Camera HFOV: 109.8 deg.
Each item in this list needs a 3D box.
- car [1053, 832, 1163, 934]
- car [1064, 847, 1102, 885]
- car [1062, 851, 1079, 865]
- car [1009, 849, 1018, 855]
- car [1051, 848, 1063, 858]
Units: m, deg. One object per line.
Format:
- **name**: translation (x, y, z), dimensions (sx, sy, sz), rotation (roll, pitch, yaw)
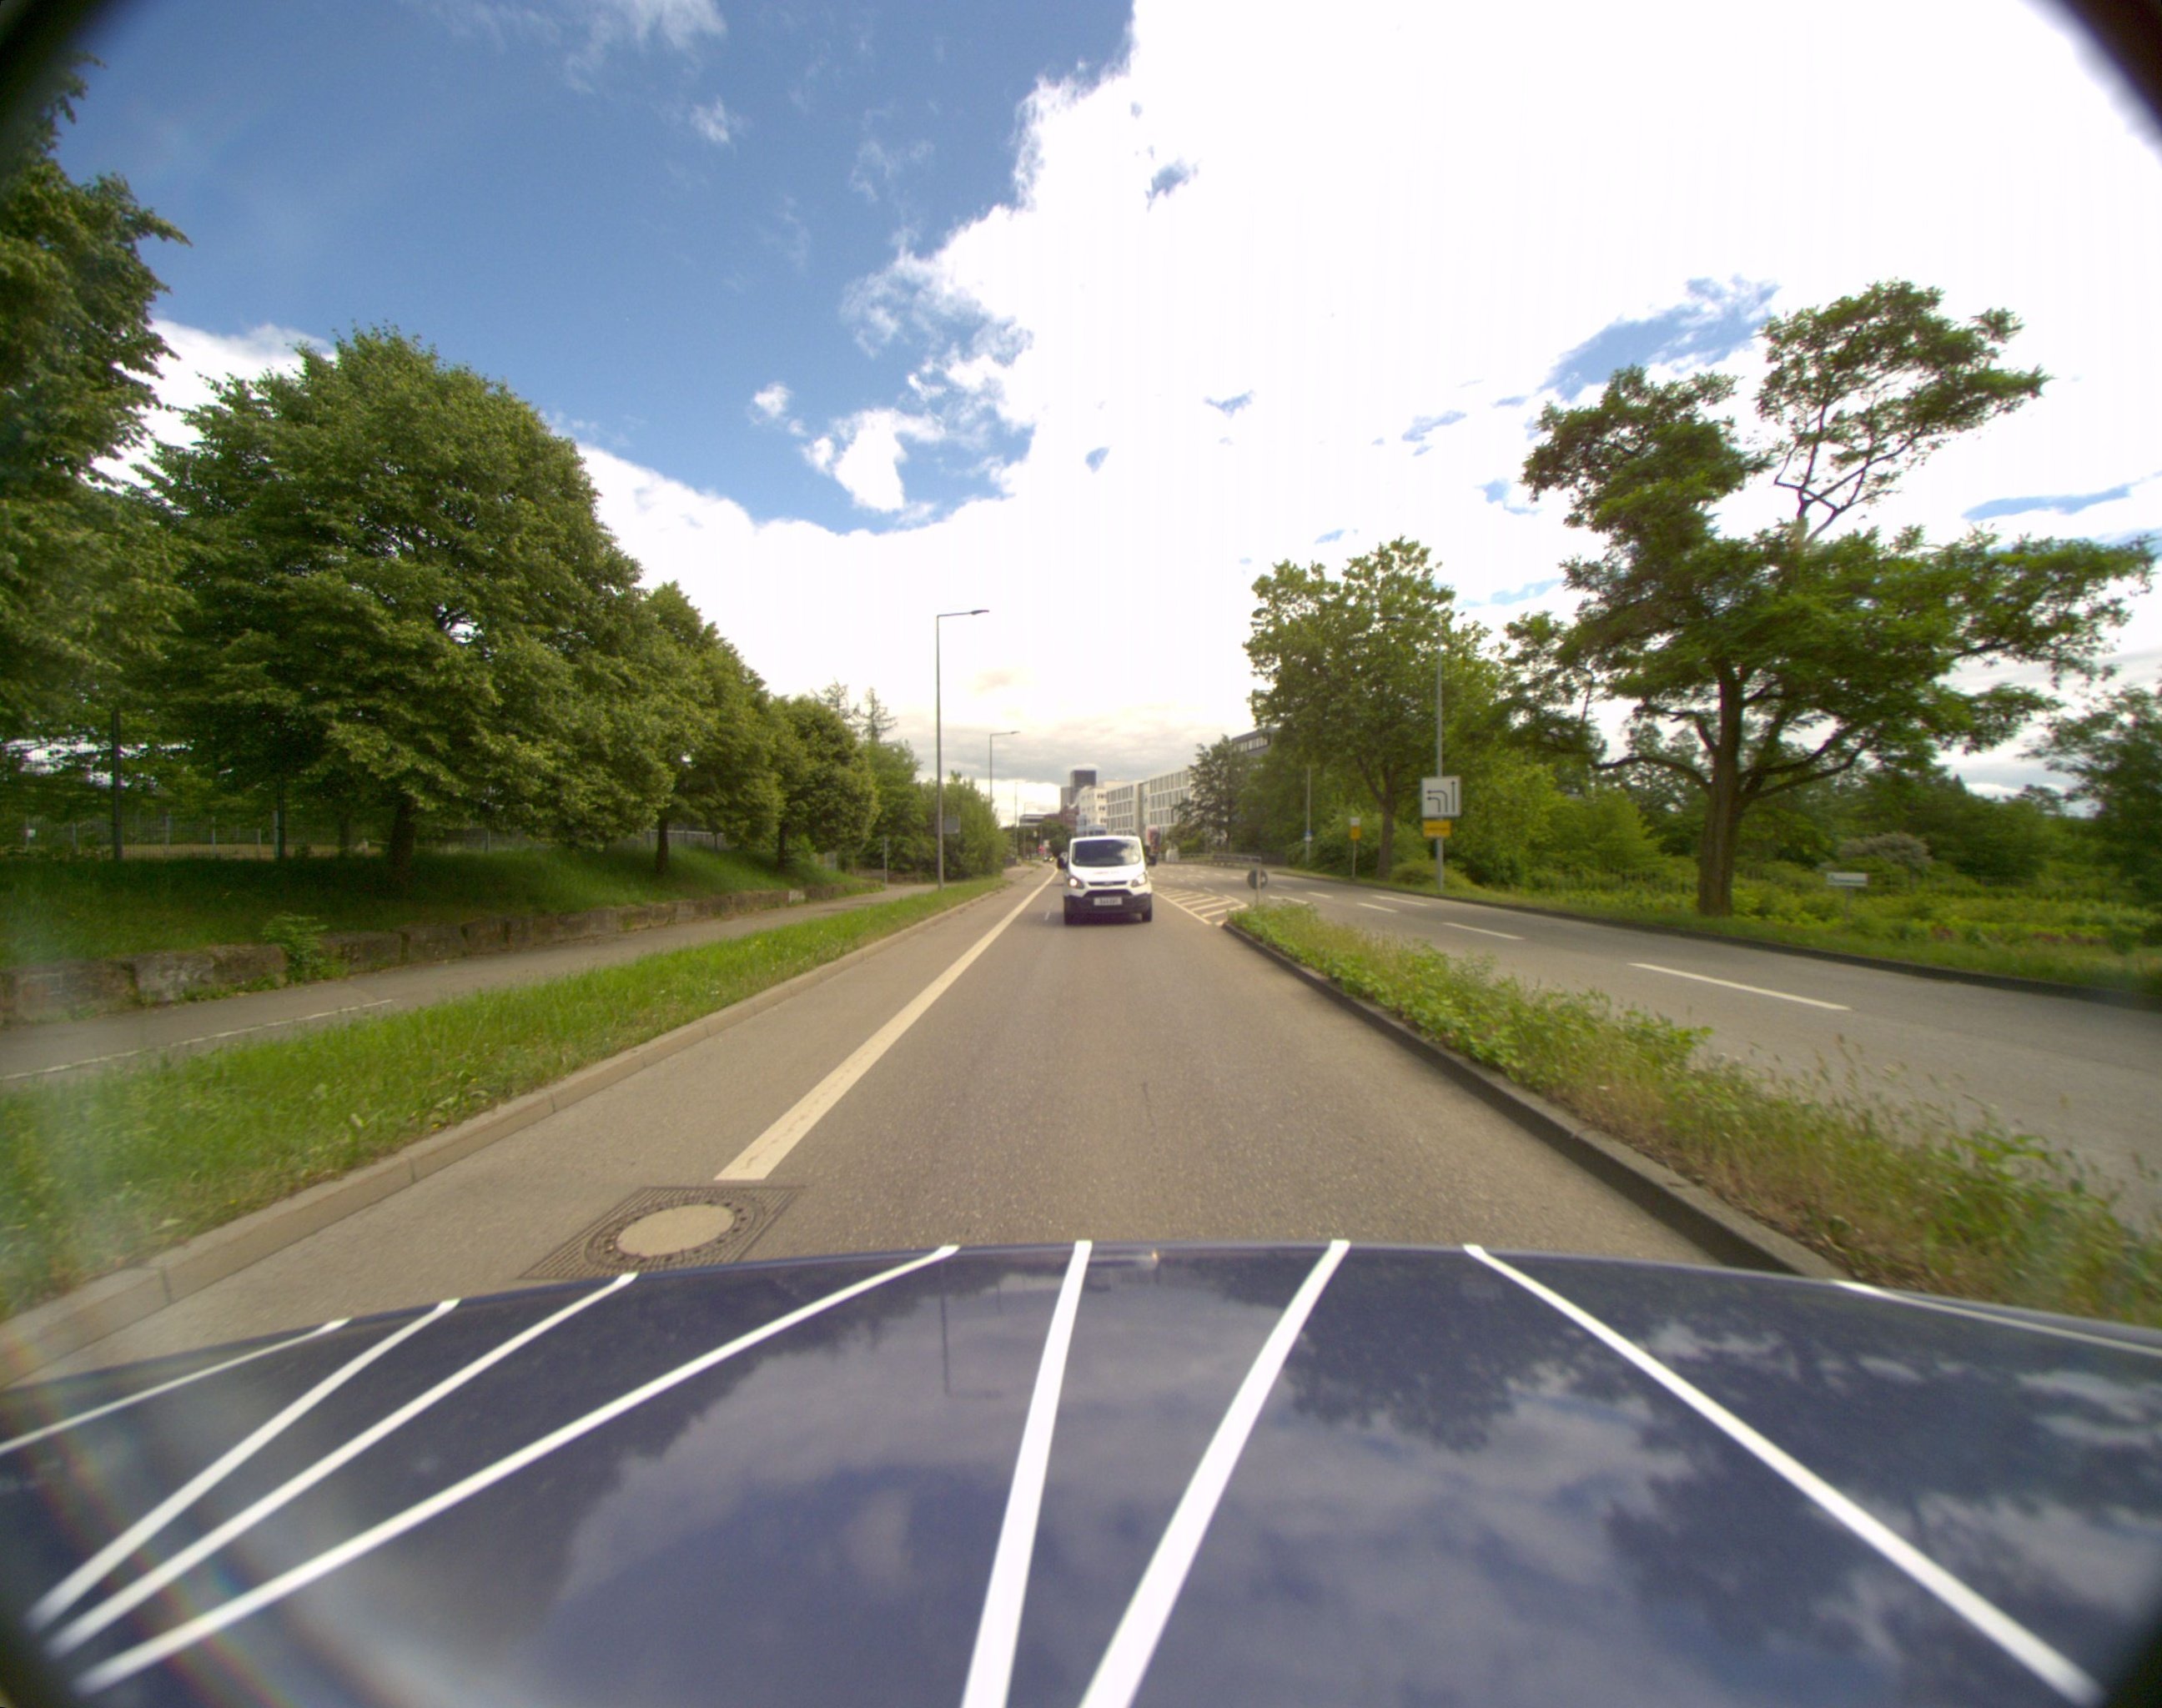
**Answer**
- **car**: translation (0.511, 0.544, 18.214), dimensions (2.122, 1.963, 6.205), rotation (-2, 1, 0)
- **car**: translation (0.068, 0.588, 40.568), dimensions (1.872, 1.836, 4.370), rotation (-2, 1, -1)
- **car**: translation (-1.368, 0.472, 95.954), dimensions (1.873, 1.685, 4.369), rotation (-2, 1, -5)
- **car**: translation (-17.188, -0.543, 192.188), dimensions (1.737, 1.432, 4.363), rotation (-2, 1, -12)
- **car**: translation (-4.435, -0.252, 139.195), dimensions (1.873, 1.685, 4.369), rotation (-2, 1, -5)
